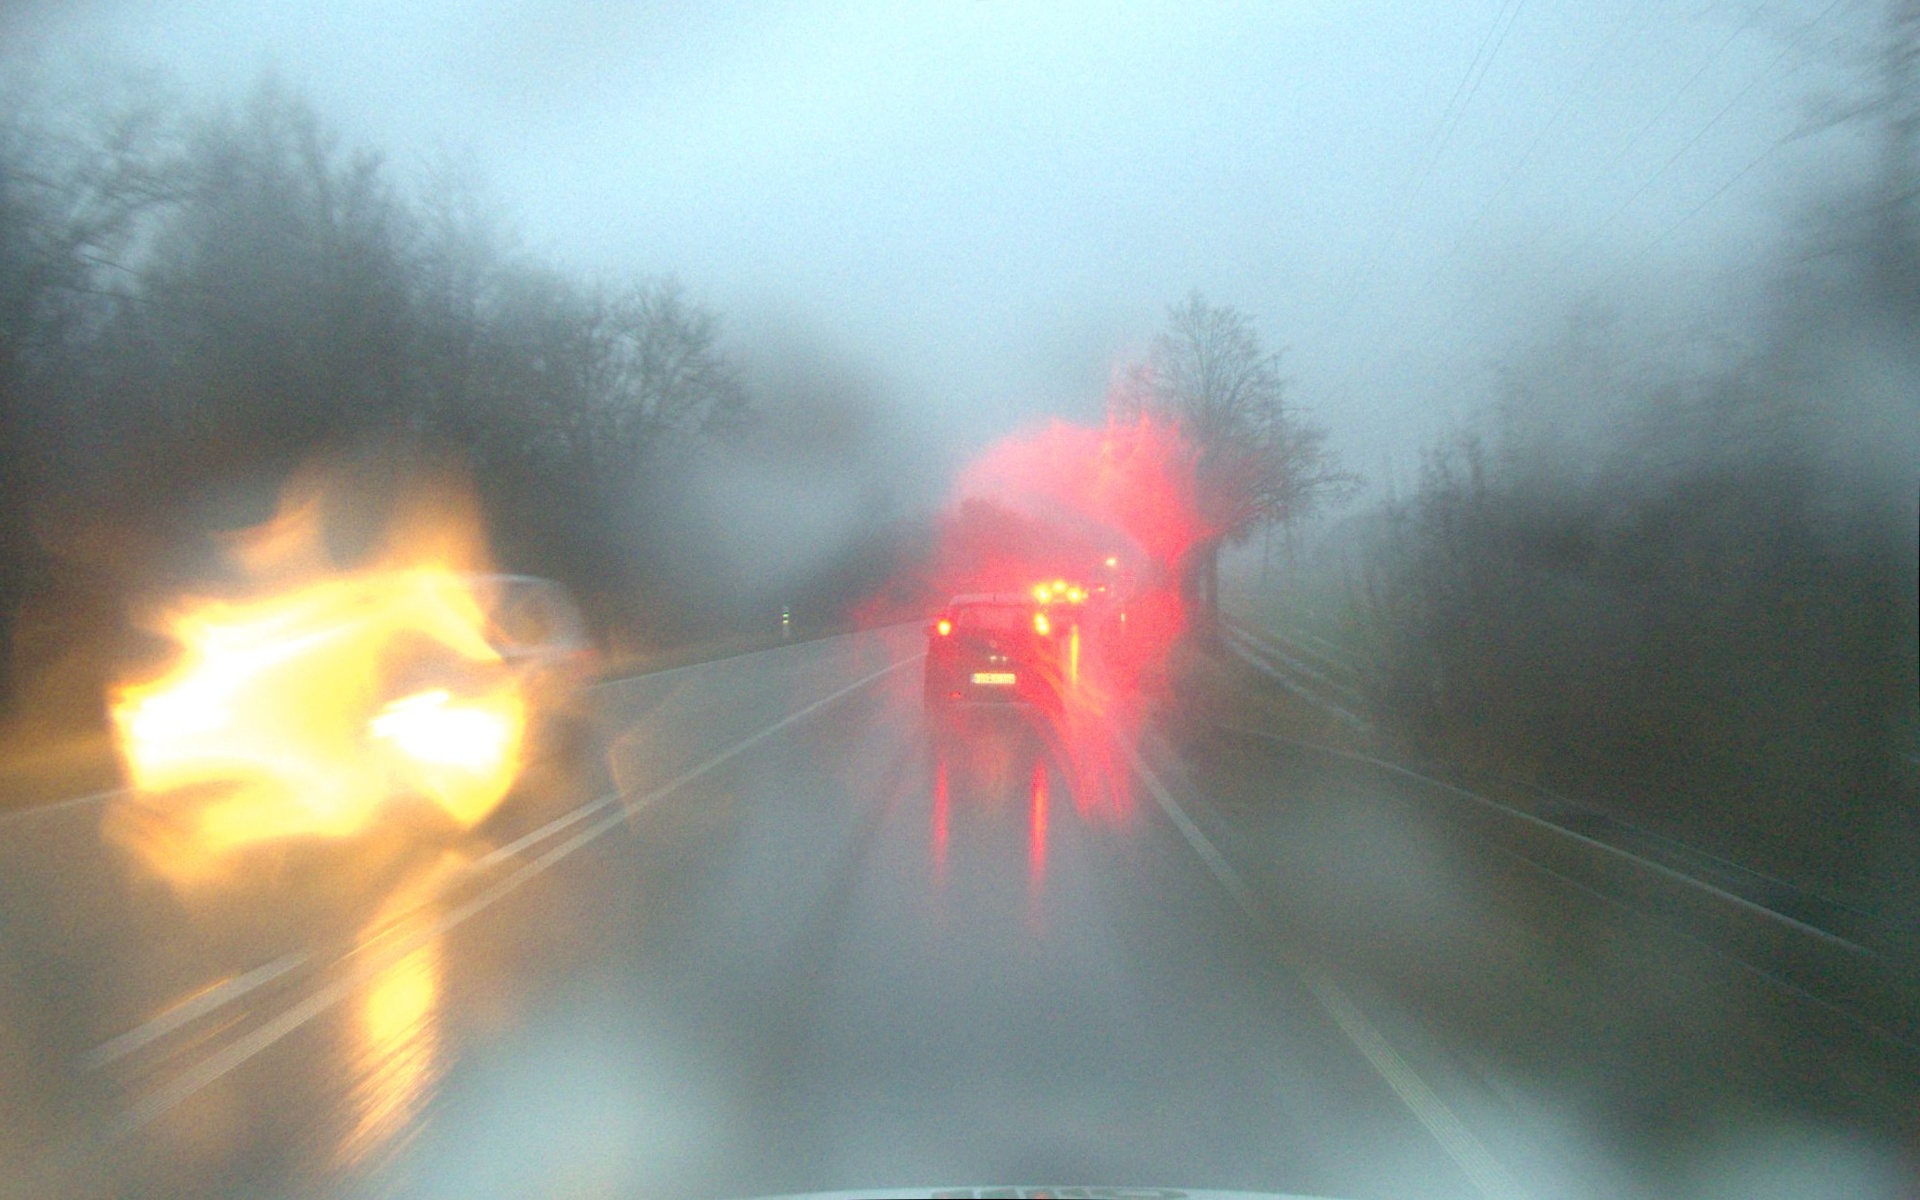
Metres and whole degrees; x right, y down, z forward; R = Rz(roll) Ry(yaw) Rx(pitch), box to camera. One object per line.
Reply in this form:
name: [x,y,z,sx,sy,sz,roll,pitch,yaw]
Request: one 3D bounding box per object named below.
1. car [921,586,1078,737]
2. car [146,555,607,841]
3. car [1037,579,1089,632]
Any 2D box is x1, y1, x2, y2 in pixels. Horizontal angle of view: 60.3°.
car: [0.429,0.685,20.790,1.695,1.559,4.042,-4,1,-1]
car: [-3.728,0.545,11.351,1.665,1.603,4.001,0,0,1]
car: [4.398,0.256,71.109,1.907,2.048,4.000,-6,-1,1]
